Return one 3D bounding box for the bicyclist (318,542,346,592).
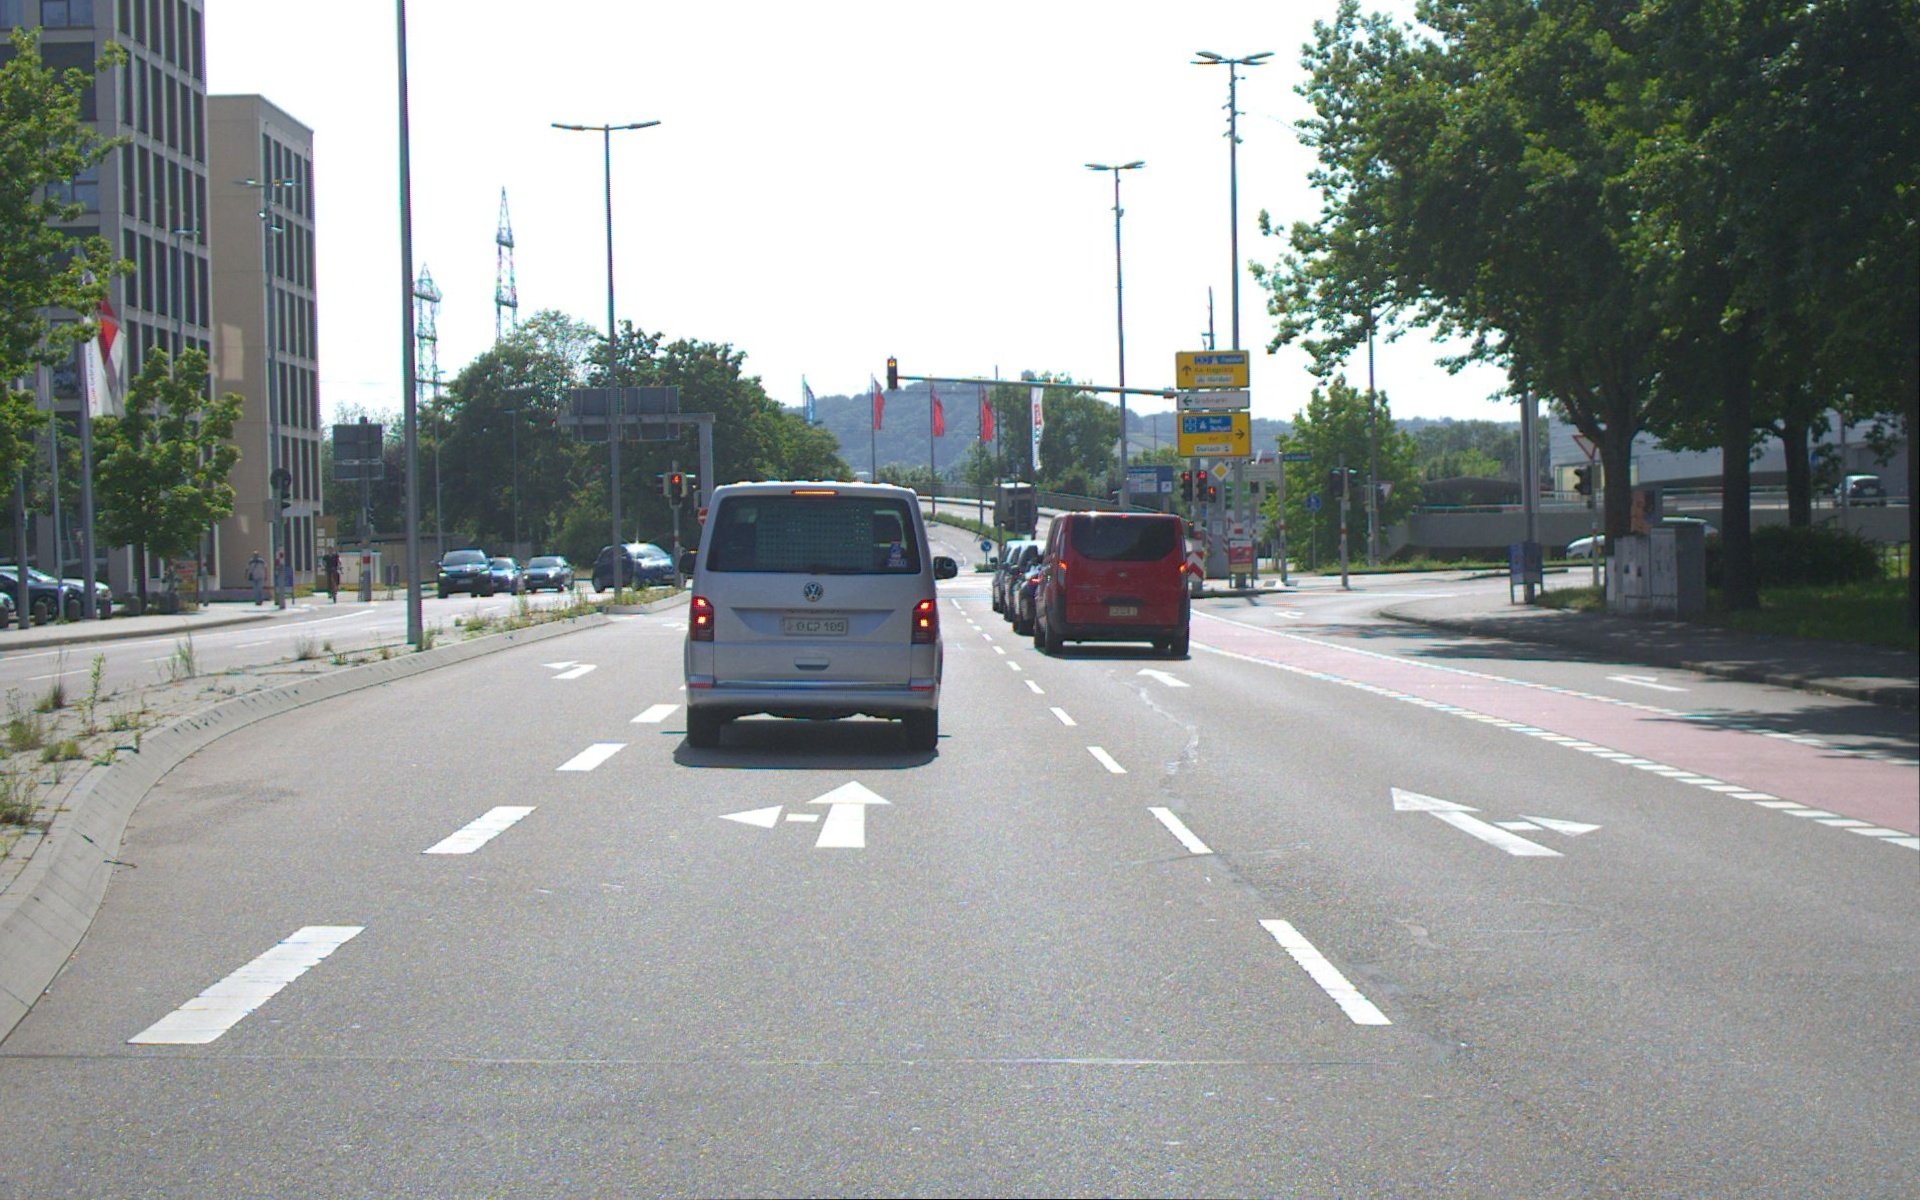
[{"bbox_3d":[-19.291,-1.016,105.582,0.618,1.521,1.036,-2,1,0],"label":"bicyclist"}]

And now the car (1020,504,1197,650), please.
[{"bbox_3d":[2.048,-0.358,48.884,1.967,1.961,5.126,0,1,-4],"label":"car"}]

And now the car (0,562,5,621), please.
[{"bbox_3d":[-23.837,-0.026,77.702,3.874,1.329,1.848,-4,1,3],"label":"car"}]

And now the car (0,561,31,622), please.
[{"bbox_3d":[-23.964,-0.069,80.376,3.874,1.360,1.749,-4,1,3],"label":"car"}]

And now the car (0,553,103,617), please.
[{"bbox_3d":[-24.249,-0.328,88.315,3.874,1.459,1.868,-4,1,1],"label":"car"}]

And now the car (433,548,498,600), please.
[{"bbox_3d":[-16.789,-0.896,116.930,1.738,1.613,4.210,-4,1,-3],"label":"car"}]

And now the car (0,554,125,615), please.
[{"bbox_3d":[-24.085,-0.399,90.794,3.593,1.353,1.640,-4,1,0],"label":"car"}]

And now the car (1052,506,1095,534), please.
[{"bbox_3d":[8.277,-5.844,251.461,1.993,2.007,4.001,0,1,-16],"label":"car"}]

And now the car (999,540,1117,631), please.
[{"bbox_3d":[1.603,-0.279,57.685,1.746,1.453,4.476,0,1,-1],"label":"car"}]

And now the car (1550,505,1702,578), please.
[{"bbox_3d":[20.780,-1.818,107.356,4.402,1.987,1.481,-4,1,4],"label":"car"}]

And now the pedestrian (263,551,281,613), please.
[{"bbox_3d":[-22.466,-0.594,112.321,0.558,2.007,0.576,0,1,-9],"label":"pedestrian"}]

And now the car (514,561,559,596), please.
[{"bbox_3d":[-17.898,-0.934,145.527,1.576,1.404,4.380,-1,1,-3],"label":"car"}]

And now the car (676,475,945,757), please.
[{"bbox_3d":[-1.092,0.076,26.223,1.884,1.983,4.000,0,1,-1],"label":"car"}]

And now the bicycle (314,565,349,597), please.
[{"bbox_3d":[-19.294,-0.584,105.593,0.680,0.937,1.973,-2,1,0],"label":"bicycle"}]

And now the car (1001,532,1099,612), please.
[{"bbox_3d":[1.752,-0.577,67.983,1.746,1.511,4.078,0,1,-1],"label":"car"}]
